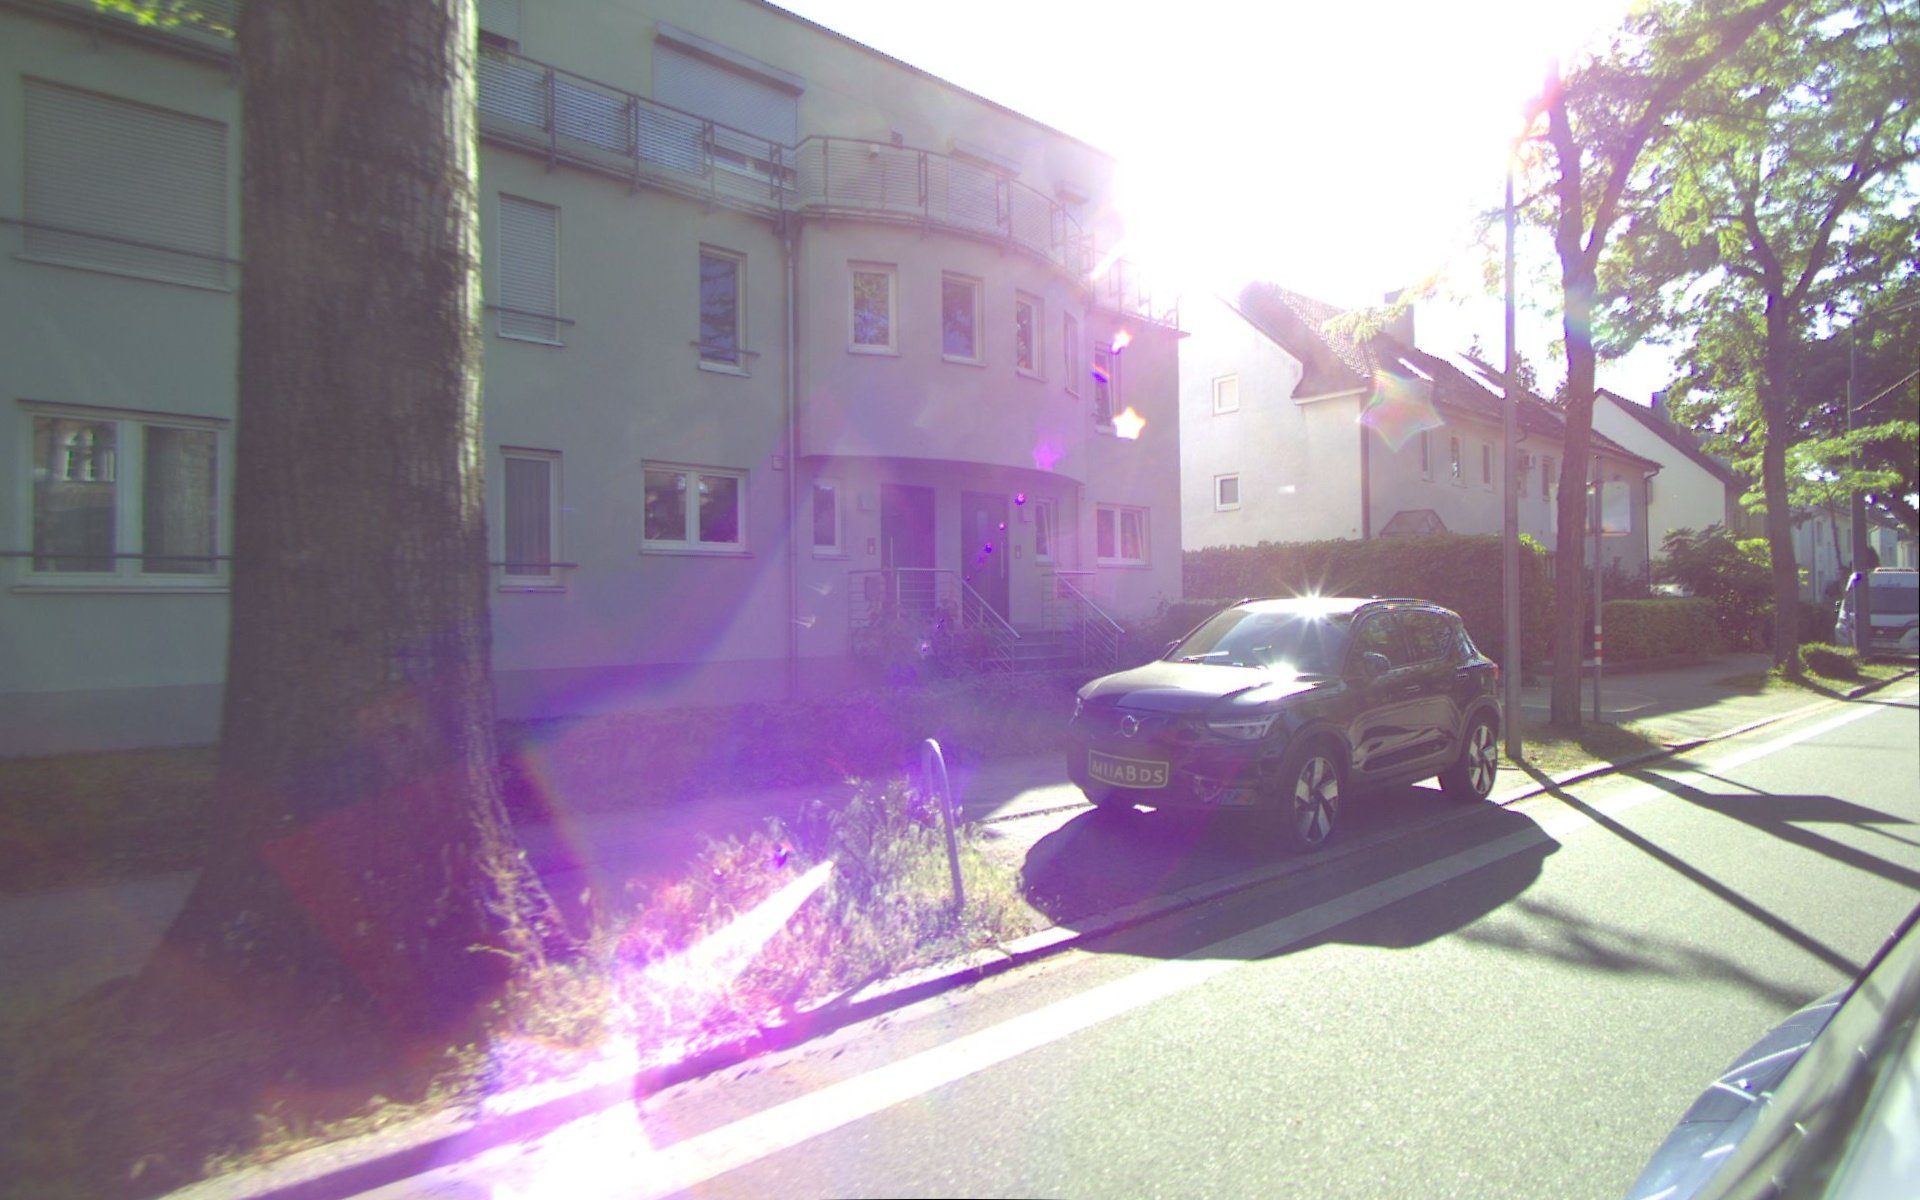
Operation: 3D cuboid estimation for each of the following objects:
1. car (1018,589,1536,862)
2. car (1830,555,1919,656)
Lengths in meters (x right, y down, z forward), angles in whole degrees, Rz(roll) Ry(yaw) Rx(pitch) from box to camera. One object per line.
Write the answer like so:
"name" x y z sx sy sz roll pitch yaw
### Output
"car" 2.728 0.715 8.034 4.570 1.537 1.878 -1 -1 -42
"car" 26.674 0.112 28.595 5.618 2.623 2.295 -1 -1 -40
